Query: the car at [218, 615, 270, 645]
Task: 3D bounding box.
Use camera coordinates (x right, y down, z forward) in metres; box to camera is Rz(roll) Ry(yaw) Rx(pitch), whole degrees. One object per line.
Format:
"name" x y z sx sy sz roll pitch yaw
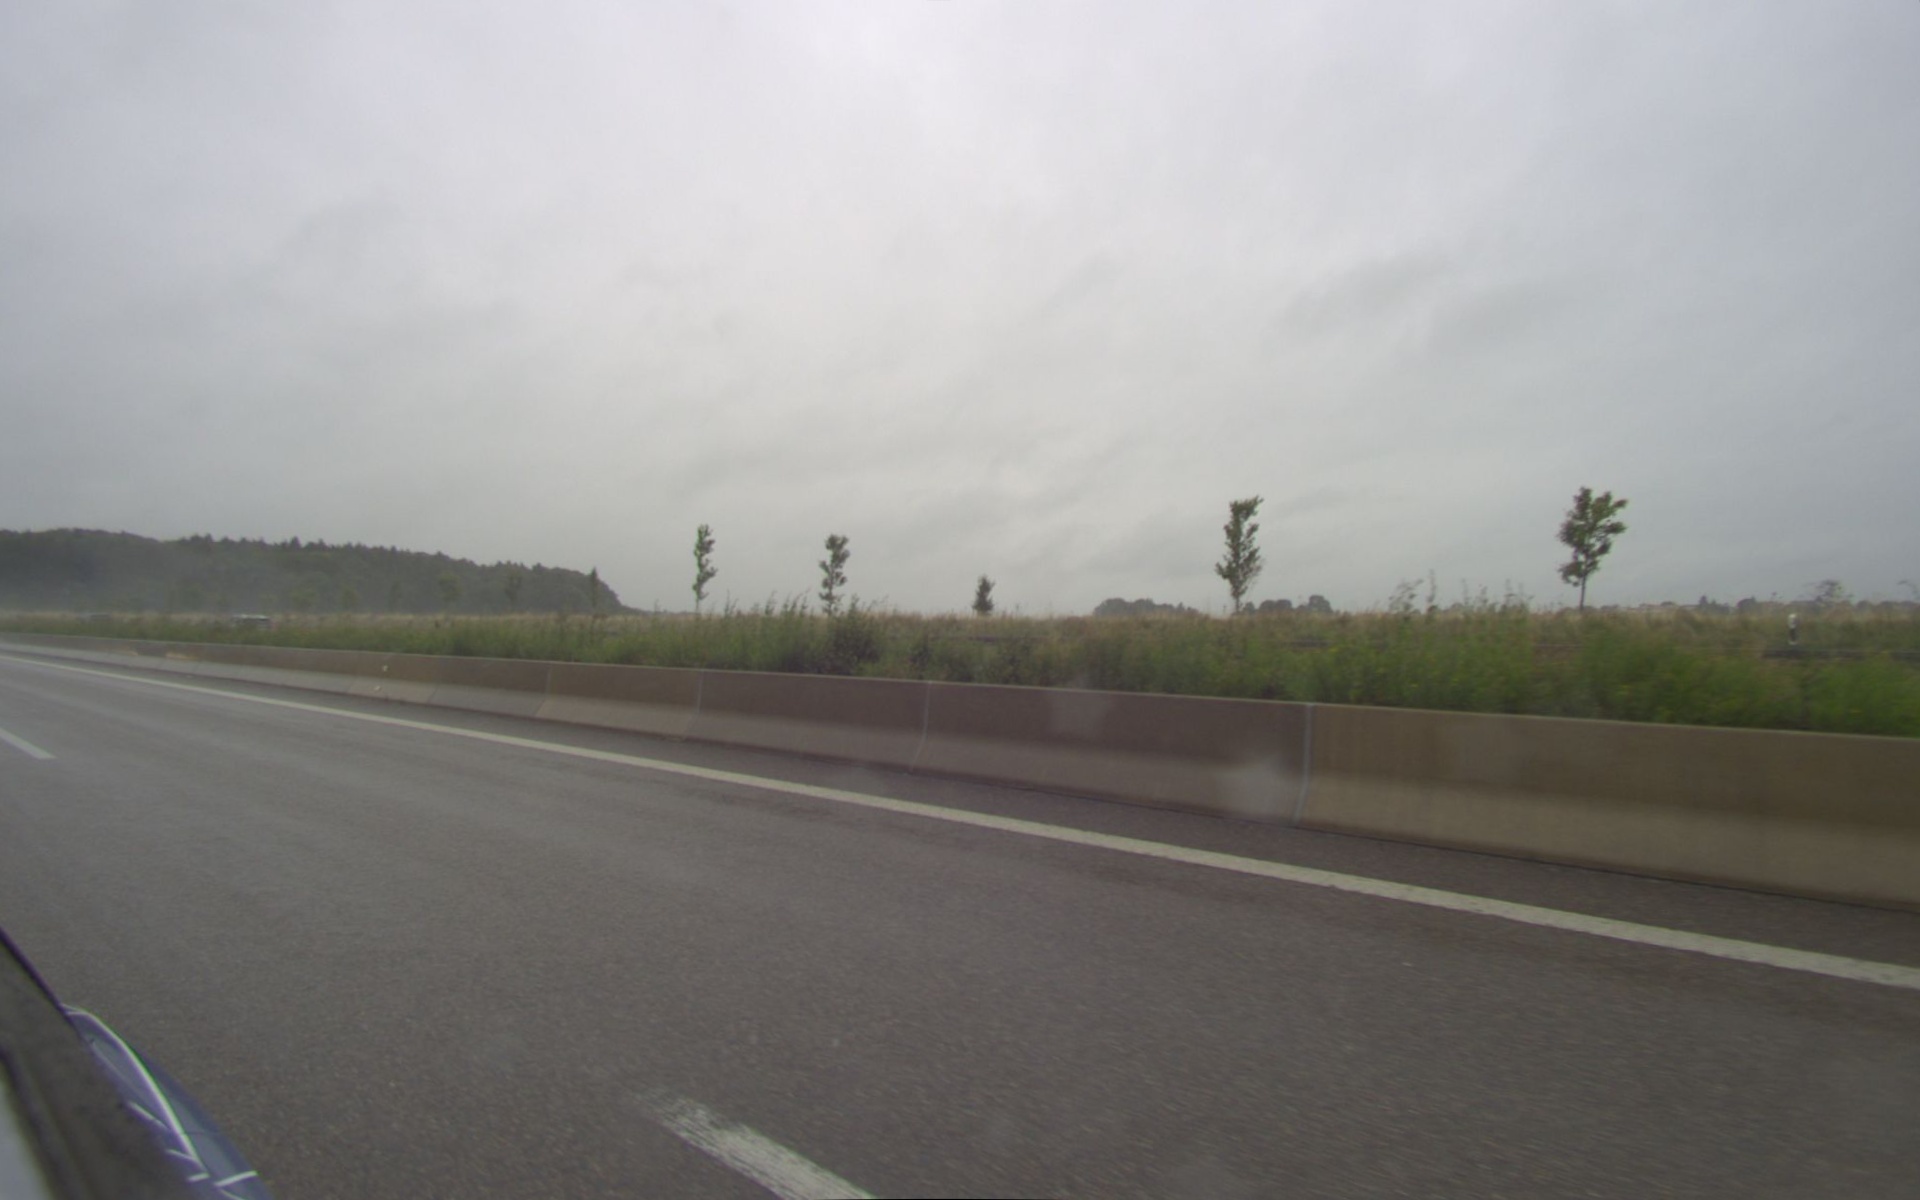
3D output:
"car" -37.214 1.525 52.558 3.824 1.491 1.306 -1 -1 40

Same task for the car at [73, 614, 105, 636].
"car" -72.654 2.069 84.399 3.169 1.740 1.480 -1 -1 39
